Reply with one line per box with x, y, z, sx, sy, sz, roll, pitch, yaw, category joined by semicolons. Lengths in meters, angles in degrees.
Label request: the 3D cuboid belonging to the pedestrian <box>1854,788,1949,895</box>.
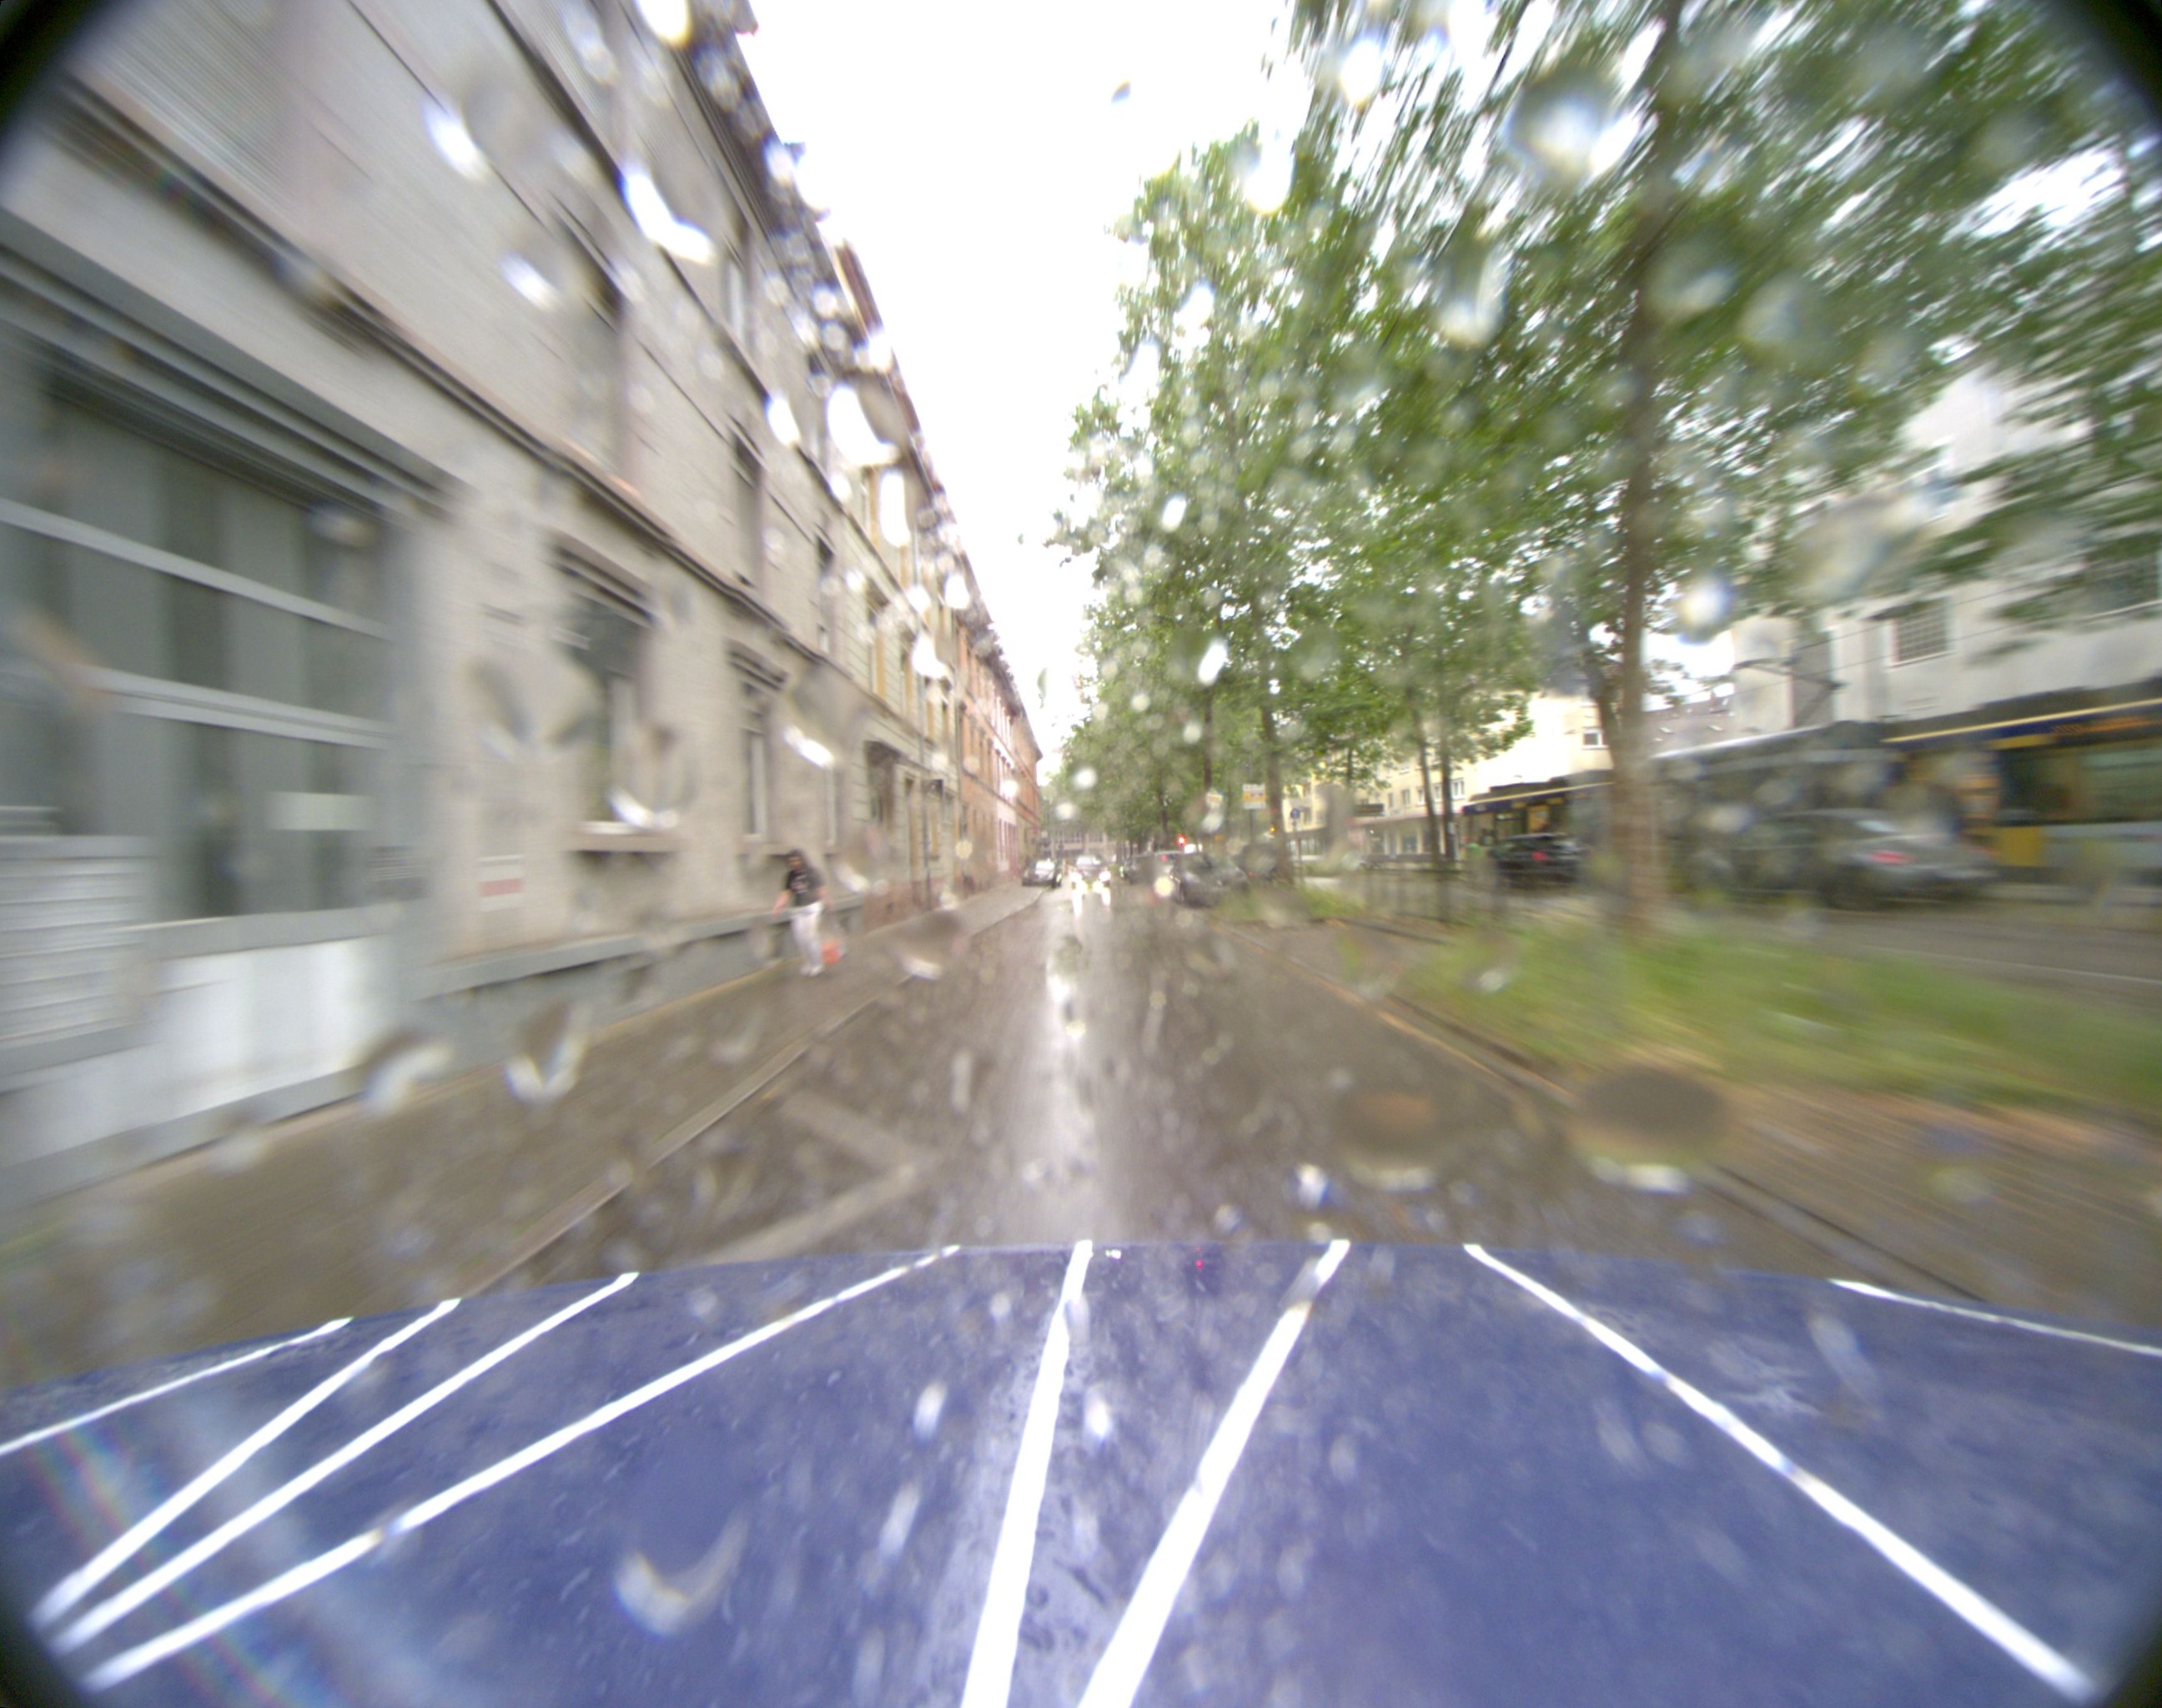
14.245;-0.197;13.222;0.959;1.773;0.819;-2;0;38;pedestrian

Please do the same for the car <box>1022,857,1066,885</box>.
-1.979;0.903;41.733;1.976;1.359;4.162;2;0;2;car

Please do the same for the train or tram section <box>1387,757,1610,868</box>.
16.583;-1.445;31.742;2.907;3.621;11.551;-3;0;1;train or tram section

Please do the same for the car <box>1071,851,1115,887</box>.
0.659;0.735;38.477;1.976;1.629;4.162;-3;0;3;car

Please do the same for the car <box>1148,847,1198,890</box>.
3.609;0.556;30.253;1.572;1.567;3.328;-3;0;0;car

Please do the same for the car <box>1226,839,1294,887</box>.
6.836;0.347;29.353;1.676;1.653;3.649;-3;0;0;car

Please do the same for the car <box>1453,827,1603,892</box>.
11.649;0.143;20.112;1.676;1.376;3.705;-6;0;0;car

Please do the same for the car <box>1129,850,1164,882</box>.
3.458;0.597;39.862;1.663;1.567;3.423;-3;0;6;car

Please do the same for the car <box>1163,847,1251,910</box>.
3.350;0.622;20.900;1.732;1.473;4.006;-3;0;0;car

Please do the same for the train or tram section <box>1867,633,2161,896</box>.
16.370;-1.299;8.619;2.907;3.621;11.551;-3;0;1;train or tram section

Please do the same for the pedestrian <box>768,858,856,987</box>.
-3.401;0.845;9.639;0.849;1.564;0.576;2;0;1;pedestrian

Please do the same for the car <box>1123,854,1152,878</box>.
3.568;0.729;48.658;1.664;1.420;3.422;-3;0;2;car

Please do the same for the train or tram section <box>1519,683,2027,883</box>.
16.475;-1.372;20.193;2.907;3.621;11.551;-3;0;1;train or tram section

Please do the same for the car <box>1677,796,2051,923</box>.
11.870;0.084;11.989;1.676;1.500;3.974;-6;0;0;car

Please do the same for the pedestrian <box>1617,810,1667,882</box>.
14.248;-0.193;19.299;0.959;1.773;0.819;-2;0;38;pedestrian
